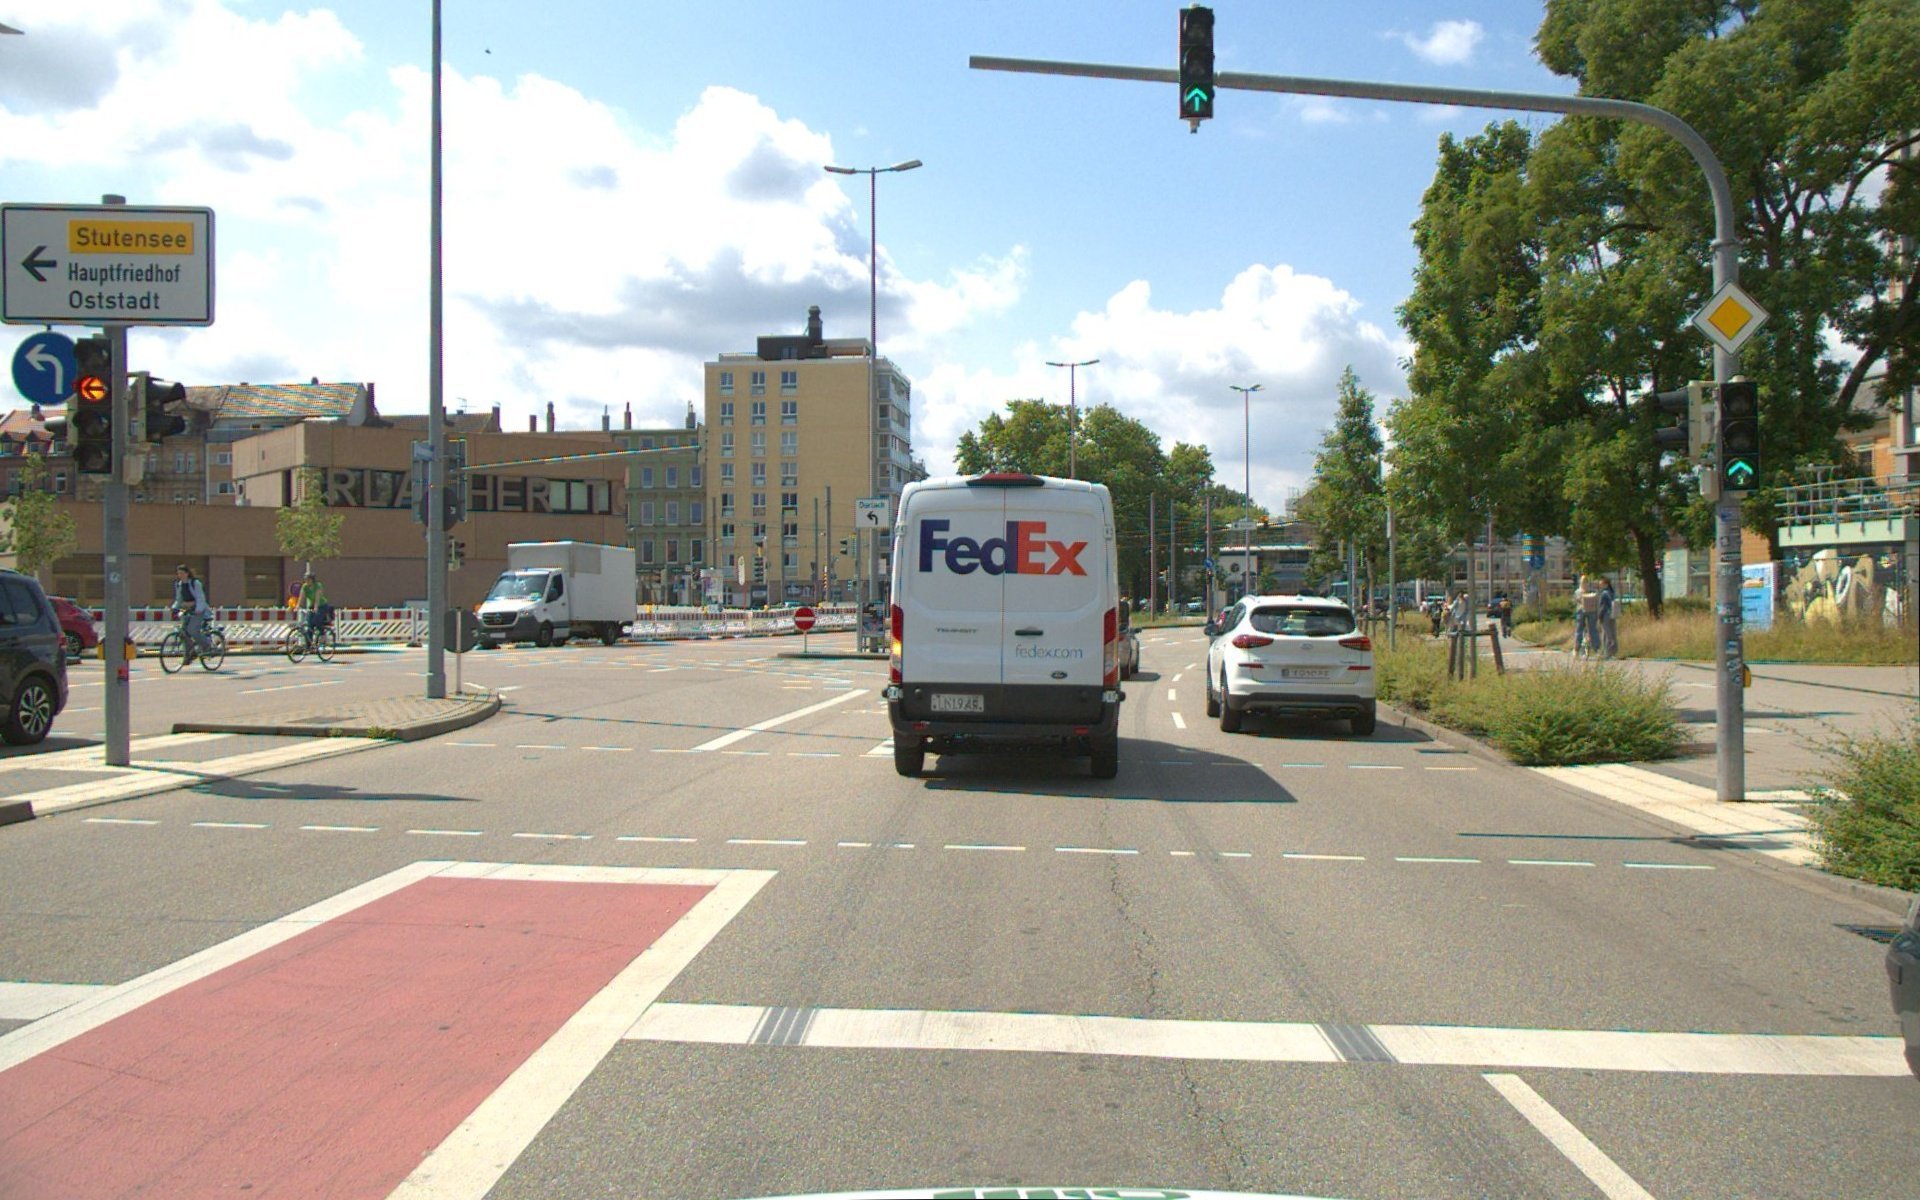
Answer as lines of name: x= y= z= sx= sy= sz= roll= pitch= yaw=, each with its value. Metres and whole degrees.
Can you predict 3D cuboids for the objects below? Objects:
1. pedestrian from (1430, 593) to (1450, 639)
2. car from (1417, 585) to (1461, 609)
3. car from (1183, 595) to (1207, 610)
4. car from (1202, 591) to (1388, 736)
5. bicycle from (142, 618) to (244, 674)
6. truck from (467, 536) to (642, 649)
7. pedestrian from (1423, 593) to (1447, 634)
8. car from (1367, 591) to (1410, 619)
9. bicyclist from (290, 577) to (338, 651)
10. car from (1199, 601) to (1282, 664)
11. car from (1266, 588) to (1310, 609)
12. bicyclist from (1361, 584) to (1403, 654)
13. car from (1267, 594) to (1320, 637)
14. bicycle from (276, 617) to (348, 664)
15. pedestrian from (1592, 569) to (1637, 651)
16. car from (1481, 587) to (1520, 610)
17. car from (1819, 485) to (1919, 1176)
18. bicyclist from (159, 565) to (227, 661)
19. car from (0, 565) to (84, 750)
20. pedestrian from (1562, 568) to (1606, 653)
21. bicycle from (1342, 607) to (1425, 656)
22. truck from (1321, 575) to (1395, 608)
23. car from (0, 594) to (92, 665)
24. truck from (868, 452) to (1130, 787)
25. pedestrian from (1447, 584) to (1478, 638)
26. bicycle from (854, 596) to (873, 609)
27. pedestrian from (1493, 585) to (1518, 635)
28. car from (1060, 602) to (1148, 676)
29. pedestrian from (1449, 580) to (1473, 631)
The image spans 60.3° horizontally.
pedestrian: x=17.747 y=0.588 z=61.112 sx=0.575 sy=1.654 sz=0.728 roll=1 pitch=-1 yaw=7
car: x=33.784 y=-0.211 z=116.587 sx=1.848 sy=1.670 sz=3.945 roll=0 pitch=0 yaw=33
car: x=27.645 y=0.317 z=194.307 sx=1.952 sy=1.601 sz=4.179 roll=1 pitch=-1 yaw=20
car: x=4.183 y=0.729 z=21.271 sx=1.841 sy=1.670 sz=4.235 roll=0 pitch=0 yaw=5
bicycle: x=-13.427 y=0.788 z=29.016 sx=0.760 sy=0.905 sz=2.109 roll=-1 pitch=0 yaw=1
truck: x=-11.969 y=-0.157 z=49.555 sx=1.951 sy=3.121 sz=7.336 roll=1 pitch=-1 yaw=13
pedestrian: x=19.094 y=0.529 z=66.431 sx=0.740 sy=1.617 sz=0.761 roll=1 pitch=-1 yaw=1
car: x=26.353 y=0.319 z=101.686 sx=1.844 sy=1.670 sz=3.954 roll=0 pitch=0 yaw=25
bicyclist: x=-13.173 y=0.289 z=33.751 sx=0.553 sy=1.487 sz=0.837 roll=-1 pitch=0 yaw=9
car: x=6.919 y=0.772 z=41.080 sx=1.874 sy=1.445 sz=3.921 roll=0 pitch=0 yaw=7
car: x=29.773 y=-0.147 z=150.035 sx=1.693 sy=1.832 sz=4.711 roll=-2 pitch=-1 yaw=42
bicyclist: x=9.999 y=0.454 z=39.234 sx=0.810 sy=1.629 sz=0.580 roll=-3 pitch=-2 yaw=5
car: x=13.681 y=0.619 z=67.695 sx=1.841 sy=1.670 sz=3.960 roll=0 pitch=0 yaw=15
bicycle: x=-13.178 y=0.809 z=33.677 sx=0.555 sy=0.905 sz=1.744 roll=-1 pitch=0 yaw=9
pedestrian: x=14.565 y=0.224 z=36.827 sx=0.734 sy=1.783 sz=0.610 roll=-2 pitch=0 yaw=5
car: x=40.339 y=-0.145 z=123.403 sx=1.848 sy=1.670 sz=3.945 roll=0 pitch=0 yaw=33
car: x=3.322 y=0.614 z=2.456 sx=1.757 sy=1.753 sz=4.448 roll=2 pitch=0 yaw=0
bicyclist: x=-13.434 y=0.221 z=28.981 sx=0.760 sy=1.647 sz=0.843 roll=-1 pitch=0 yaw=1
car: x=-9.552 y=0.511 z=14.022 sx=1.842 sy=1.652 sz=4.157 roll=1 pitch=0 yaw=3
pedestrian: x=13.725 y=0.234 z=36.389 sx=0.734 sy=1.834 sz=0.610 roll=-2 pitch=0 yaw=5
bicycle: x=10.033 y=0.750 z=39.226 sx=1.771 sy=1.068 sz=0.592 roll=-3 pitch=-2 yaw=5
truck: x=36.142 y=-0.763 z=150.008 sx=2.842 sy=2.902 sz=8.743 roll=-1 pitch=0 yaw=41
car: x=-21.360 y=0.654 z=36.481 sx=3.853 sy=1.512 sz=1.979 roll=-1 pitch=0 yaw=-31
truck: x=0.539 y=0.161 z=16.324 sx=2.092 sy=2.686 sz=5.920 roll=1 pitch=0 yaw=4
pedestrian: x=17.697 y=0.385 z=58.263 sx=0.740 sy=1.853 sz=0.780 roll=-4 pitch=-1 yaw=1
bicycle: x=-8.759 y=0.207 z=149.956 sx=0.507 sy=1.167 sz=2.104 roll=2 pitch=-1 yaw=-40
pedestrian: x=20.323 y=0.373 z=61.627 sx=0.740 sy=1.853 sz=0.674 roll=1 pitch=-1 yaw=8
car: x=2.974 y=0.760 z=34.275 sx=1.704 sy=1.416 sz=4.182 roll=0 pitch=0 yaw=5
pedestrian: x=18.444 y=0.215 z=60.912 sx=0.740 sy=1.853 sz=0.638 roll=1 pitch=-1 yaw=7
